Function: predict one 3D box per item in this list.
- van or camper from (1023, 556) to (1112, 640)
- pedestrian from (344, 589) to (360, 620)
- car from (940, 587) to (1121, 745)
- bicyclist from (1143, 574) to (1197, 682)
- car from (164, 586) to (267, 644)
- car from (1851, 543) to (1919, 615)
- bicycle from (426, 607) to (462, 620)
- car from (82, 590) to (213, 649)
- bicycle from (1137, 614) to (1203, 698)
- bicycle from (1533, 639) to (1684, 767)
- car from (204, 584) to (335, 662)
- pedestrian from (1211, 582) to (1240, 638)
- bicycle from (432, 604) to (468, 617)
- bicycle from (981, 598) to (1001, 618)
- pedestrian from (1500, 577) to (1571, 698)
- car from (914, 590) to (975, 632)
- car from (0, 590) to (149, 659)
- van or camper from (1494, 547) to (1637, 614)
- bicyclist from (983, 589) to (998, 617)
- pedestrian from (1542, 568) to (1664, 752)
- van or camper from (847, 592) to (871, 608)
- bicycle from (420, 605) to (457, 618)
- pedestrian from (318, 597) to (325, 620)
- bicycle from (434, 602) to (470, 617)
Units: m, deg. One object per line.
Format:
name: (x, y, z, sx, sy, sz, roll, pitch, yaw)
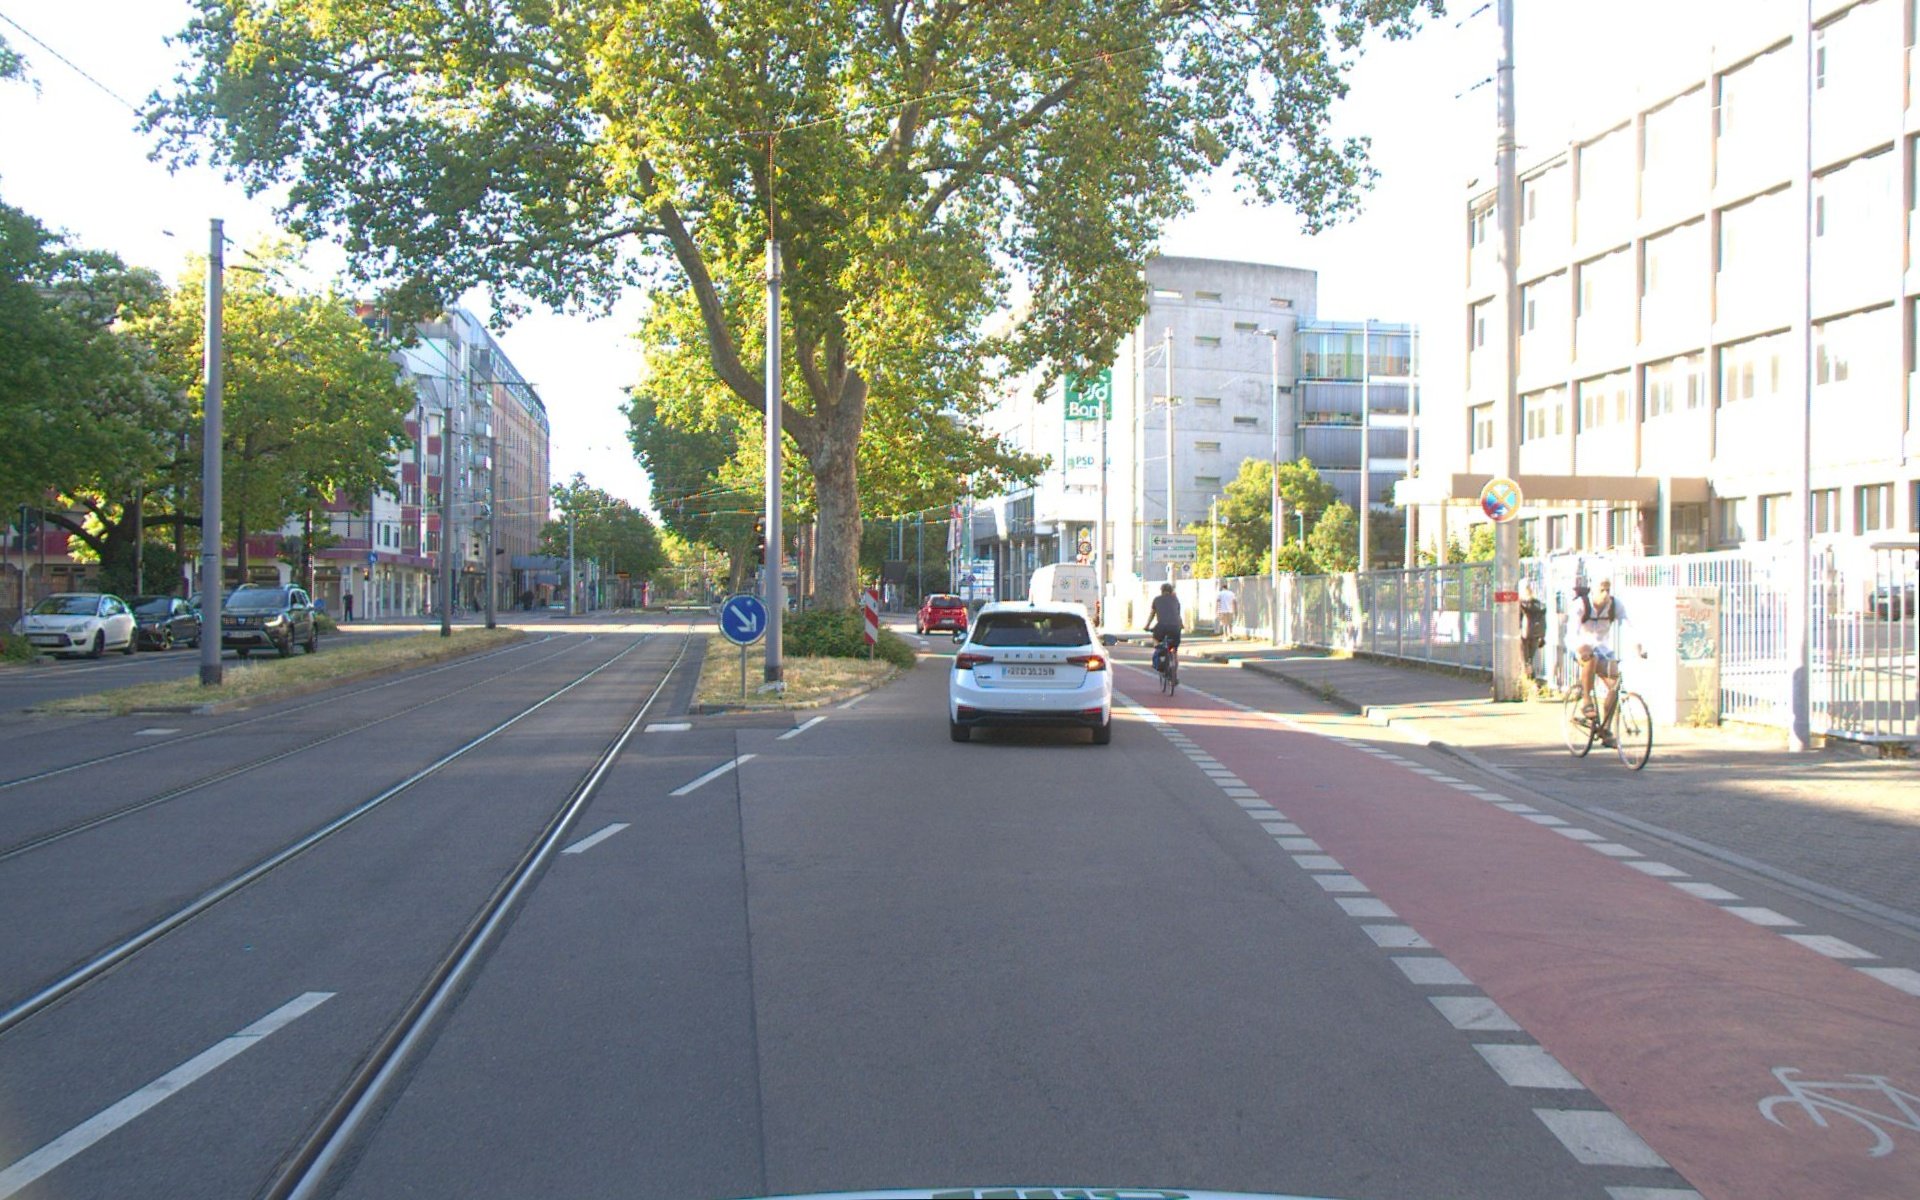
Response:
van or camper: (3.791, -0.074, 59.535, 2.224, 2.781, 6.341, 2, 0, -5)
pedestrian: (-33.634, 0.230, 91.508, 0.696, 1.691, 1.030, -1, 0, -13)
car: (0.884, 0.649, 18.331, 1.764, 1.527, 3.984, 1, 0, 5)
bicyclist: (3.405, 0.446, 26.893, 0.728, 1.698, 0.745, 2, 0, -1)
car: (-22.932, 0.435, 51.093, 1.958, 1.719, 4.167, 0, 0, -11)
car: (24.893, -0.522, 41.499, 4.173, 1.748, 1.989, 0, 0, -10)
bicycle: (-32.335, 0.863, 103.710, 2.131, 0.801, 0.490, 0, 0, -12)
car: (-21.689, 0.481, 44.333, 1.958, 1.502, 4.638, 0, 0, -11)
bicycle: (3.393, 0.884, 26.857, 0.728, 1.245, 2.155, 2, 0, -1)
bicycle: (6.082, 0.939, 15.621, 0.661, 1.050, 1.901, -2, 0, 1)
car: (-16.017, 0.487, 38.573, 1.958, 1.719, 4.299, 0, 0, -11)
pedestrian: (8.437, 0.317, 52.529, 0.770, 1.779, 0.772, -1, 0, 0)
bicycle: (-32.400, 0.655, 105.072, 2.131, 0.838, 0.526, 0, 0, -12)
bicycle: (1.855, 0.455, 99.349, 0.778, 1.182, 2.494, 0, 0, -10)
pedestrian: (8.304, 0.525, 23.902, 0.682, 1.713, 0.930, 0, 0, -2)
car: (-0.617, 0.400, 61.623, 1.805, 1.515, 3.709, 0, 0, -8)
car: (-20.586, 0.524, 38.469, 1.958, 1.496, 4.394, 0, 0, -11)
van or camper: (18.506, -0.585, 50.826, 1.944, 1.942, 4.989, -1, 0, -9)
bicyclist: (1.825, 0.188, 99.526, 0.771, 1.663, 0.637, 0, 0, -11)
pedestrian: (6.060, 0.545, 15.637, 0.656, 1.647, 1.102, -2, 0, 0)
van or camper: (-11.429, 0.007, 186.691, 2.107, 1.781, 4.419, -1, 0, -11)
bicycle: (-32.471, 0.697, 102.920, 2.131, 0.801, 0.639, 0, 0, -12)
pedestrian: (-35.768, 0.476, 92.621, 0.298, 1.235, 0.317, -1, 0, -14)
bicycle: (-32.478, 0.604, 105.713, 2.131, 0.967, 0.490, 0, 0, -12)
